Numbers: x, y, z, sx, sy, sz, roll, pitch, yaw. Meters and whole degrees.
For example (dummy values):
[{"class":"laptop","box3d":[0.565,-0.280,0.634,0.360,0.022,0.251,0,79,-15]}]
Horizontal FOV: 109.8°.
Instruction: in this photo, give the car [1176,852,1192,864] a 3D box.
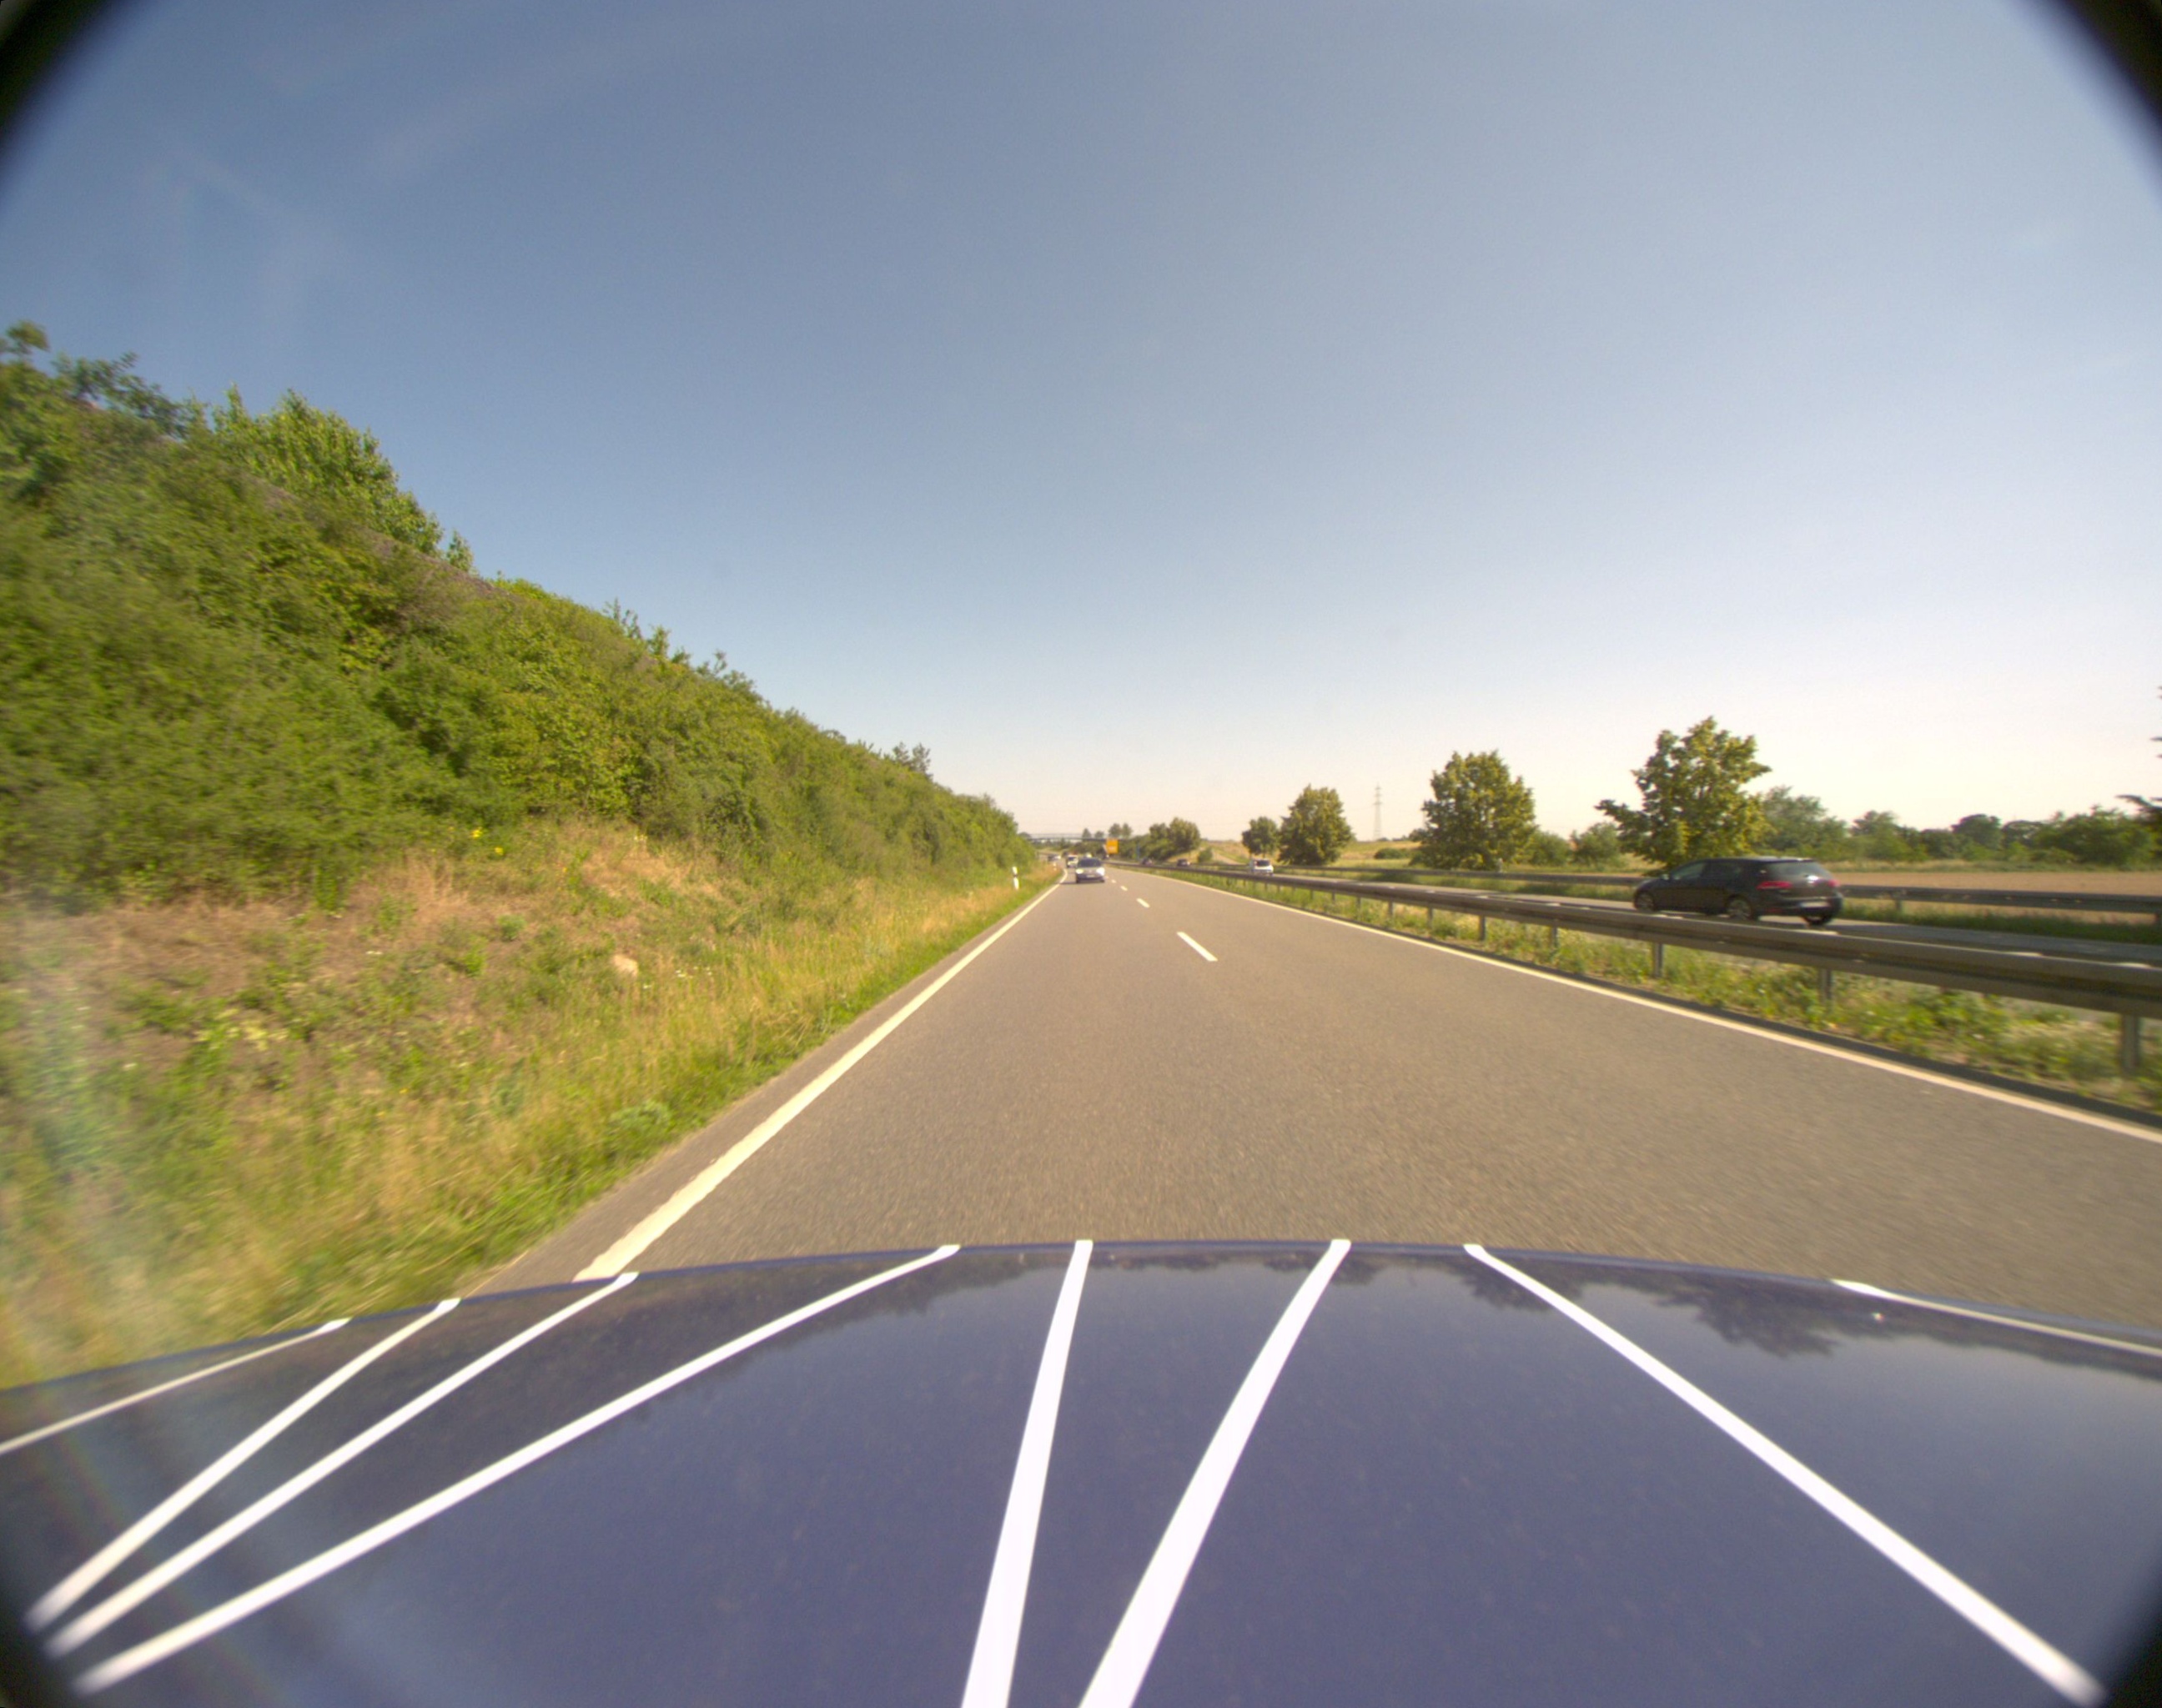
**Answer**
[{"class":"car","box3d":[14.044,0.546,103.992,1.694,1.532,4.244,-2,0,2]}]

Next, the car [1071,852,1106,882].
[{"class":"car","box3d":[0.511,0.789,47.533,1.854,1.635,4.000,-2,1,4]}]

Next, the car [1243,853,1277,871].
[{"class":"car","box3d":[14.785,0.641,62.938,1.694,1.428,3.939,-2,0,-1]}]

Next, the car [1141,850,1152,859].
[{"class":"car","box3d":[12.404,0.155,144.730,1.656,1.544,4.561,-3,0,0]}]

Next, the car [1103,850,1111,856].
[{"class":"car","box3d":[7.203,-0.319,207.286,1.759,1.524,3.999,-3,0,-3]}]

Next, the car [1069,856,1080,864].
[{"class":"car","box3d":[-1.162,0.998,130.484,1.790,1.212,3.998,-1,1,-2]}]

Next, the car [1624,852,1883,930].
[{"class":"car","box3d":[14.540,0.711,16.859,1.843,1.464,4.459,-2,0,1]}]

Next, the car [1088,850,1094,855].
[{"class":"car","box3d":[3.172,-0.552,237.866,1.673,1.424,4.347,-3,1,-2]}]
